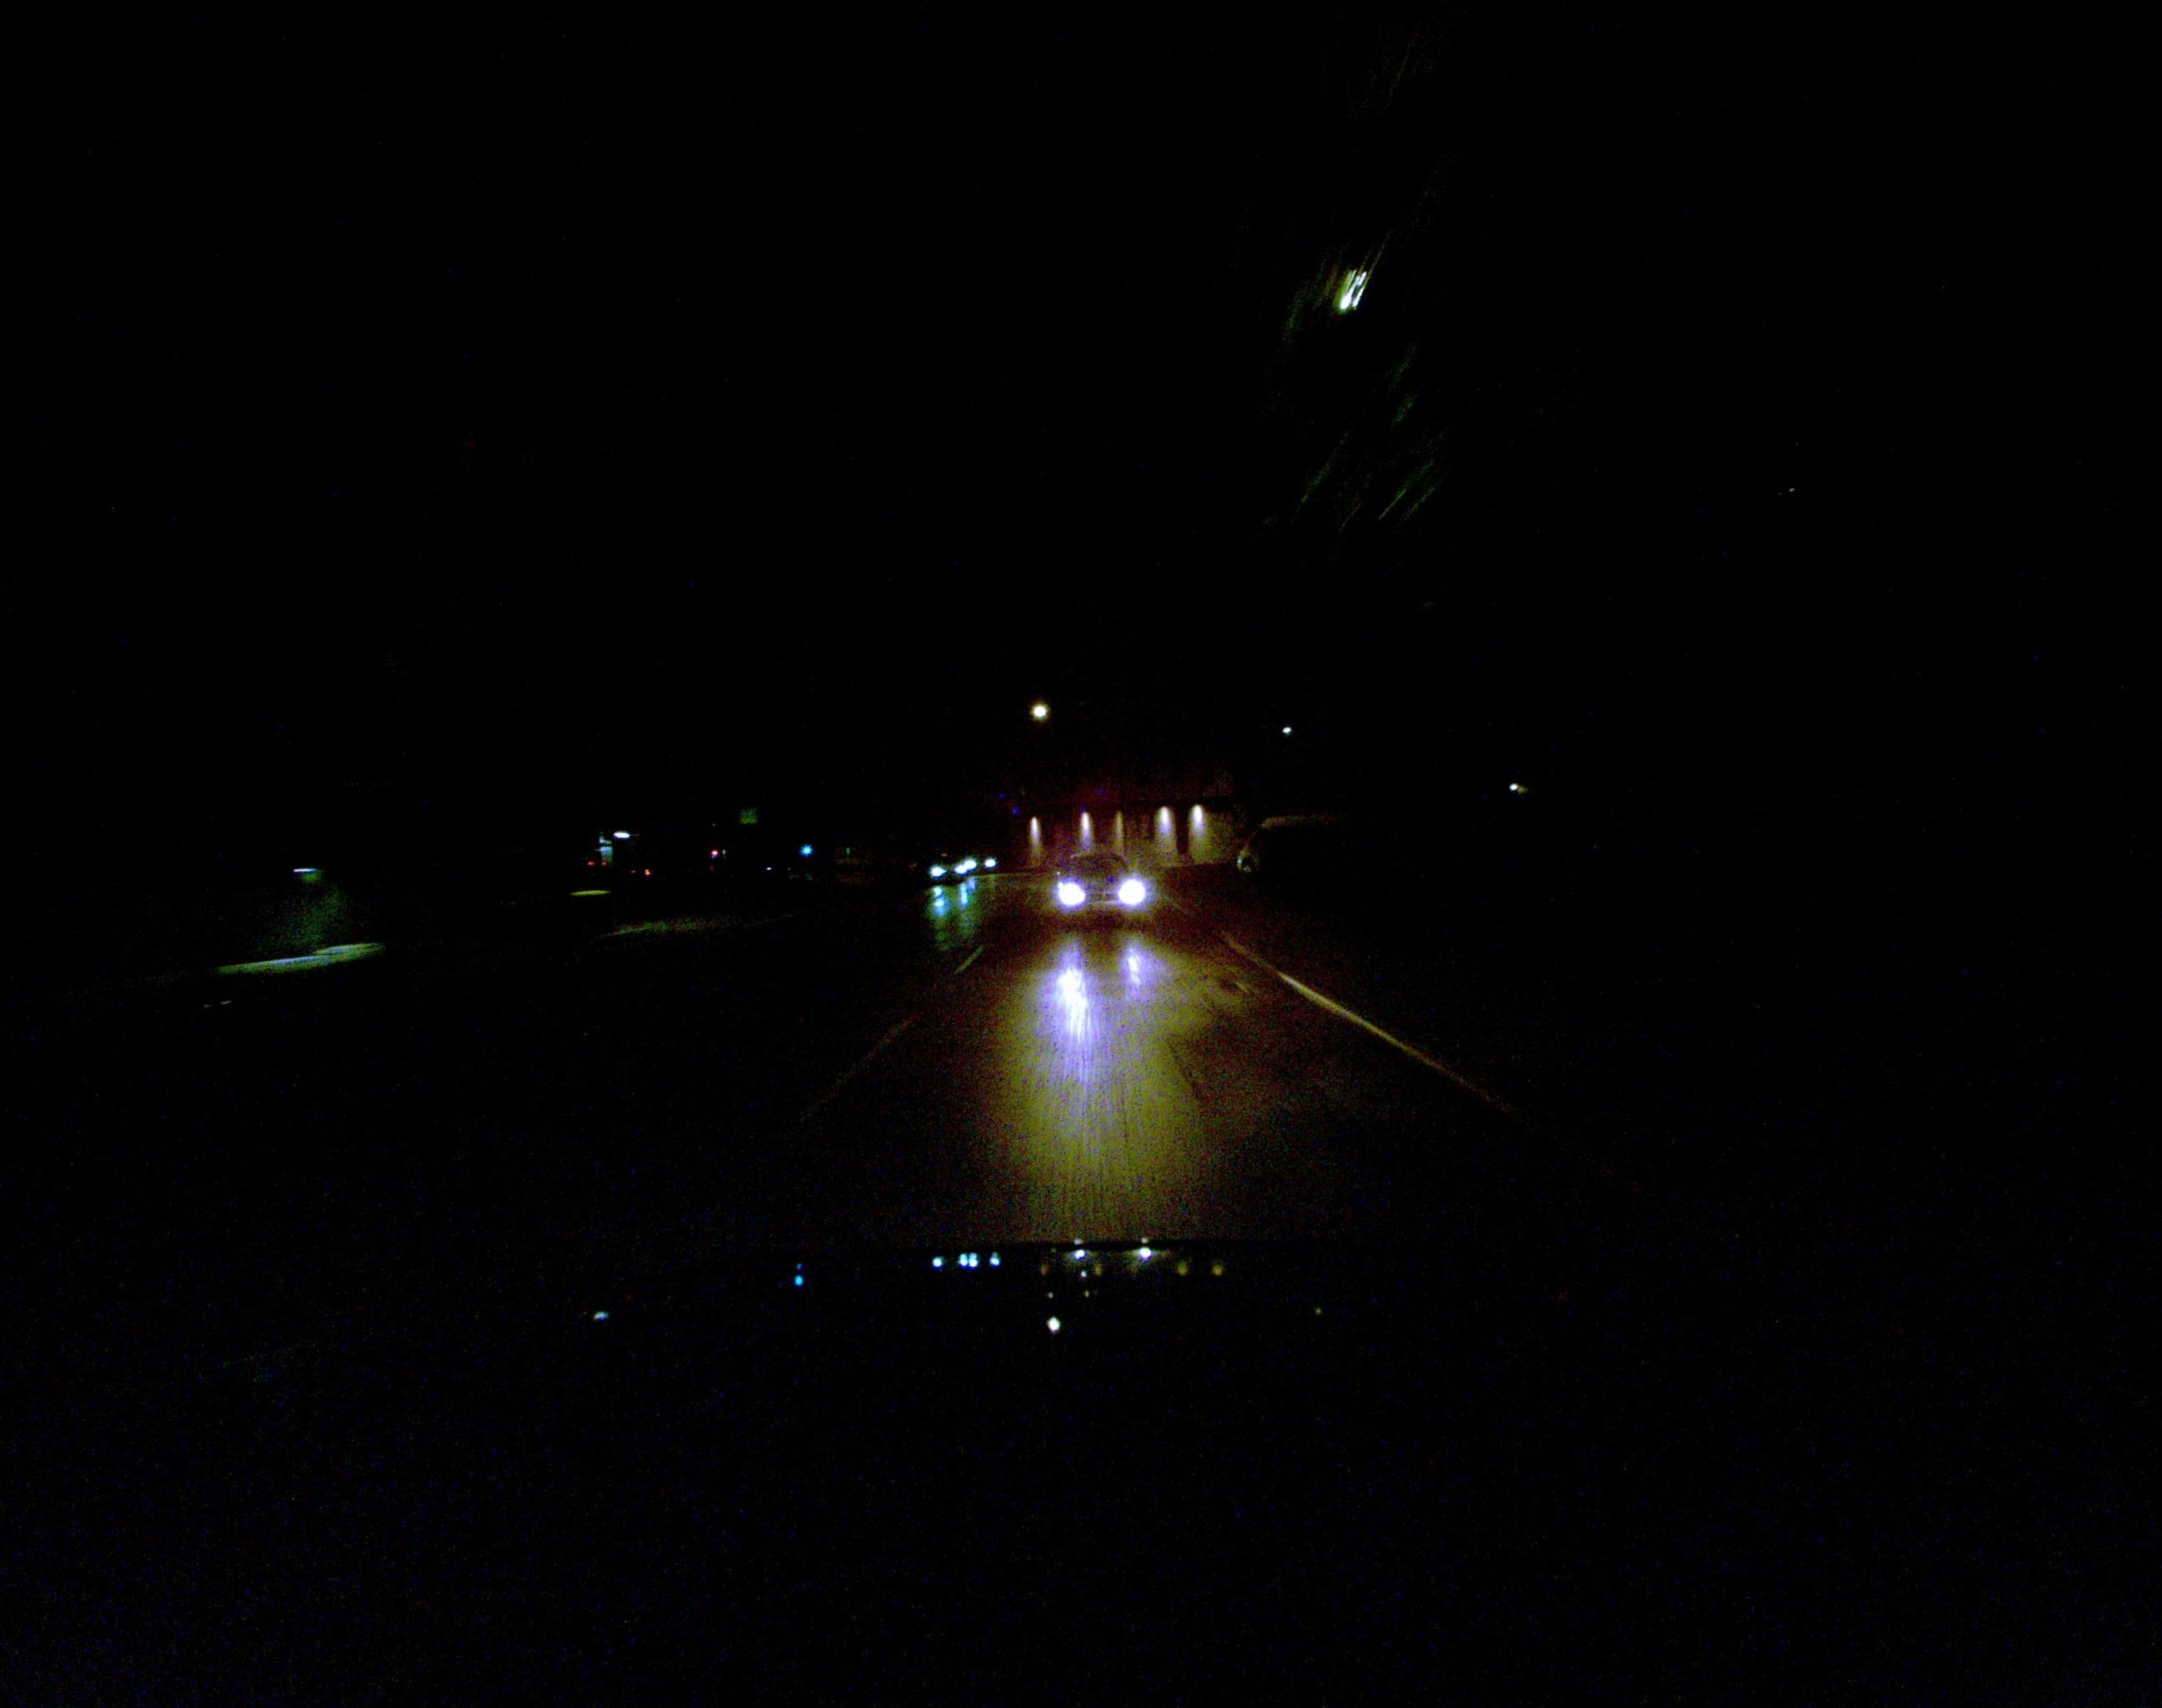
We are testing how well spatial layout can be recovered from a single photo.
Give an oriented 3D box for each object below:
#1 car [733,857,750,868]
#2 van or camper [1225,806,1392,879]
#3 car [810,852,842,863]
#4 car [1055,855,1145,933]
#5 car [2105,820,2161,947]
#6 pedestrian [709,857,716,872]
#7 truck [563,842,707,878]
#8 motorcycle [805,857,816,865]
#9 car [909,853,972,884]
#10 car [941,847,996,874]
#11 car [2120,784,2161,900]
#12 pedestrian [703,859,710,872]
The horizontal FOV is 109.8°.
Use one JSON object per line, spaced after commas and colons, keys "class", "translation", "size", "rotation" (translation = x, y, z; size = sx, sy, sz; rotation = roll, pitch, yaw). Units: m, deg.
{"class": "car", "translation": [-52.007, 1.299, 116.413], "size": [2.003, 1.626, 3.991], "rotation": [-4, 1, -29]}
{"class": "van or camper", "translation": [8.586, -0.423, 29.392], "size": [2.169, 2.521, 6.211], "rotation": [-2, 1, -33]}
{"class": "car", "translation": [-43.619, 0.513, 129.835], "size": [4.682, 1.620, 1.998], "rotation": [-4, 3, -34]}
{"class": "car", "translation": [0.304, 0.776, 16.798], "size": [1.635, 1.430, 3.838], "rotation": [-1, 1, -4]}
{"class": "car", "translation": [13.714, 0.323, 7.838], "size": [1.706, 1.384, 3.618], "rotation": [-4, 2, -32]}
{"class": "pedestrian", "translation": [-47.145, 1.354, 97.291], "size": [0.624, 1.801, 0.757], "rotation": [-5, 2, -32]}
{"class": "truck", "translation": [-61.363, 0.698, 105.156], "size": [16.858, 3.962, 3.124], "rotation": [-4, 3, -33]}
{"class": "motorcycle", "translation": [-40.597, 1.070, 113.882], "size": [2.026, 1.173, 0.574], "rotation": [-2, 2, 41]}
{"class": "car", "translation": [-7.702, 0.761, 41.289], "size": [1.732, 1.422, 4.487], "rotation": [-6, 3, -32]}
{"class": "car", "translation": [-6.928, 0.376, 46.621], "size": [1.732, 1.455, 3.989], "rotation": [-4, 2, -33]}
{"class": "car", "translation": [19.949, -0.262, 11.549], "size": [2.003, 1.944, 4.793], "rotation": [-4, 2, -32]}
{"class": "pedestrian", "translation": [-47.628, 1.480, 96.506], "size": [0.624, 1.630, 0.677], "rotation": [-5, 2, -32]}
